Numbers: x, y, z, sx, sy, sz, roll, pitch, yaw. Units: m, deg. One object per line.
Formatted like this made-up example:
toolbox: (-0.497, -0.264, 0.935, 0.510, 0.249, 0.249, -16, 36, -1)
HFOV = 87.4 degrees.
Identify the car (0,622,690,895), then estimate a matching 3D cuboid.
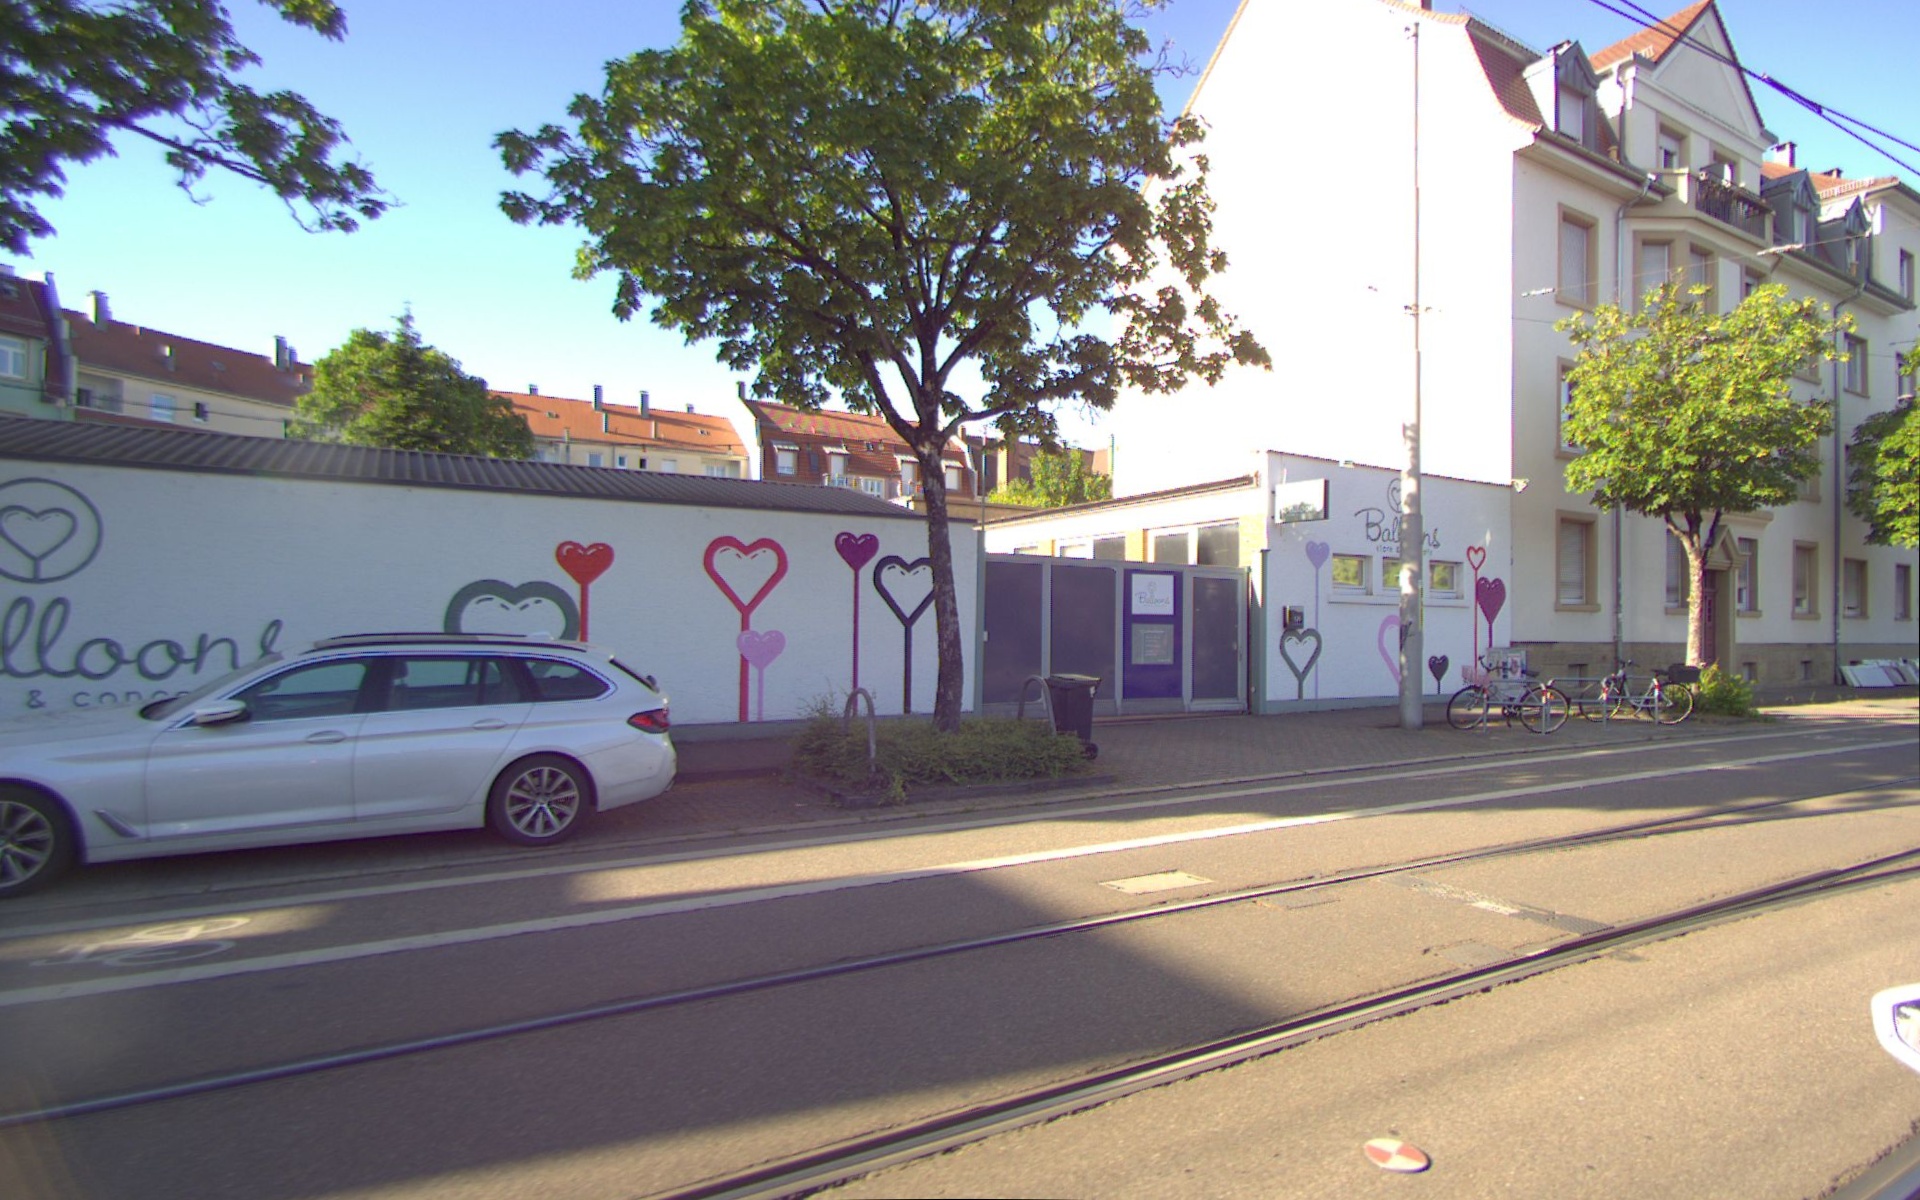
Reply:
car: (-4.542, 0.972, 7.377, 4.608, 1.510, 1.855, 2, -1, -31)

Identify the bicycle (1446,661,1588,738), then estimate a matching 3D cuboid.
bicycle: (8.442, 1.496, 15.287, 1.750, 1.054, 0.670, 1, 0, 7)

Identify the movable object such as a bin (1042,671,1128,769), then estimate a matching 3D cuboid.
movable object such as a bin: (1.381, 1.308, 11.136, 0.694, 0.973, 0.579, 2, 4, -30)

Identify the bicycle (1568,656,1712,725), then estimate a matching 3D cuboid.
bicycle: (11.525, 1.515, 17.067, 1.947, 1.054, 0.532, 1, 0, 14)
